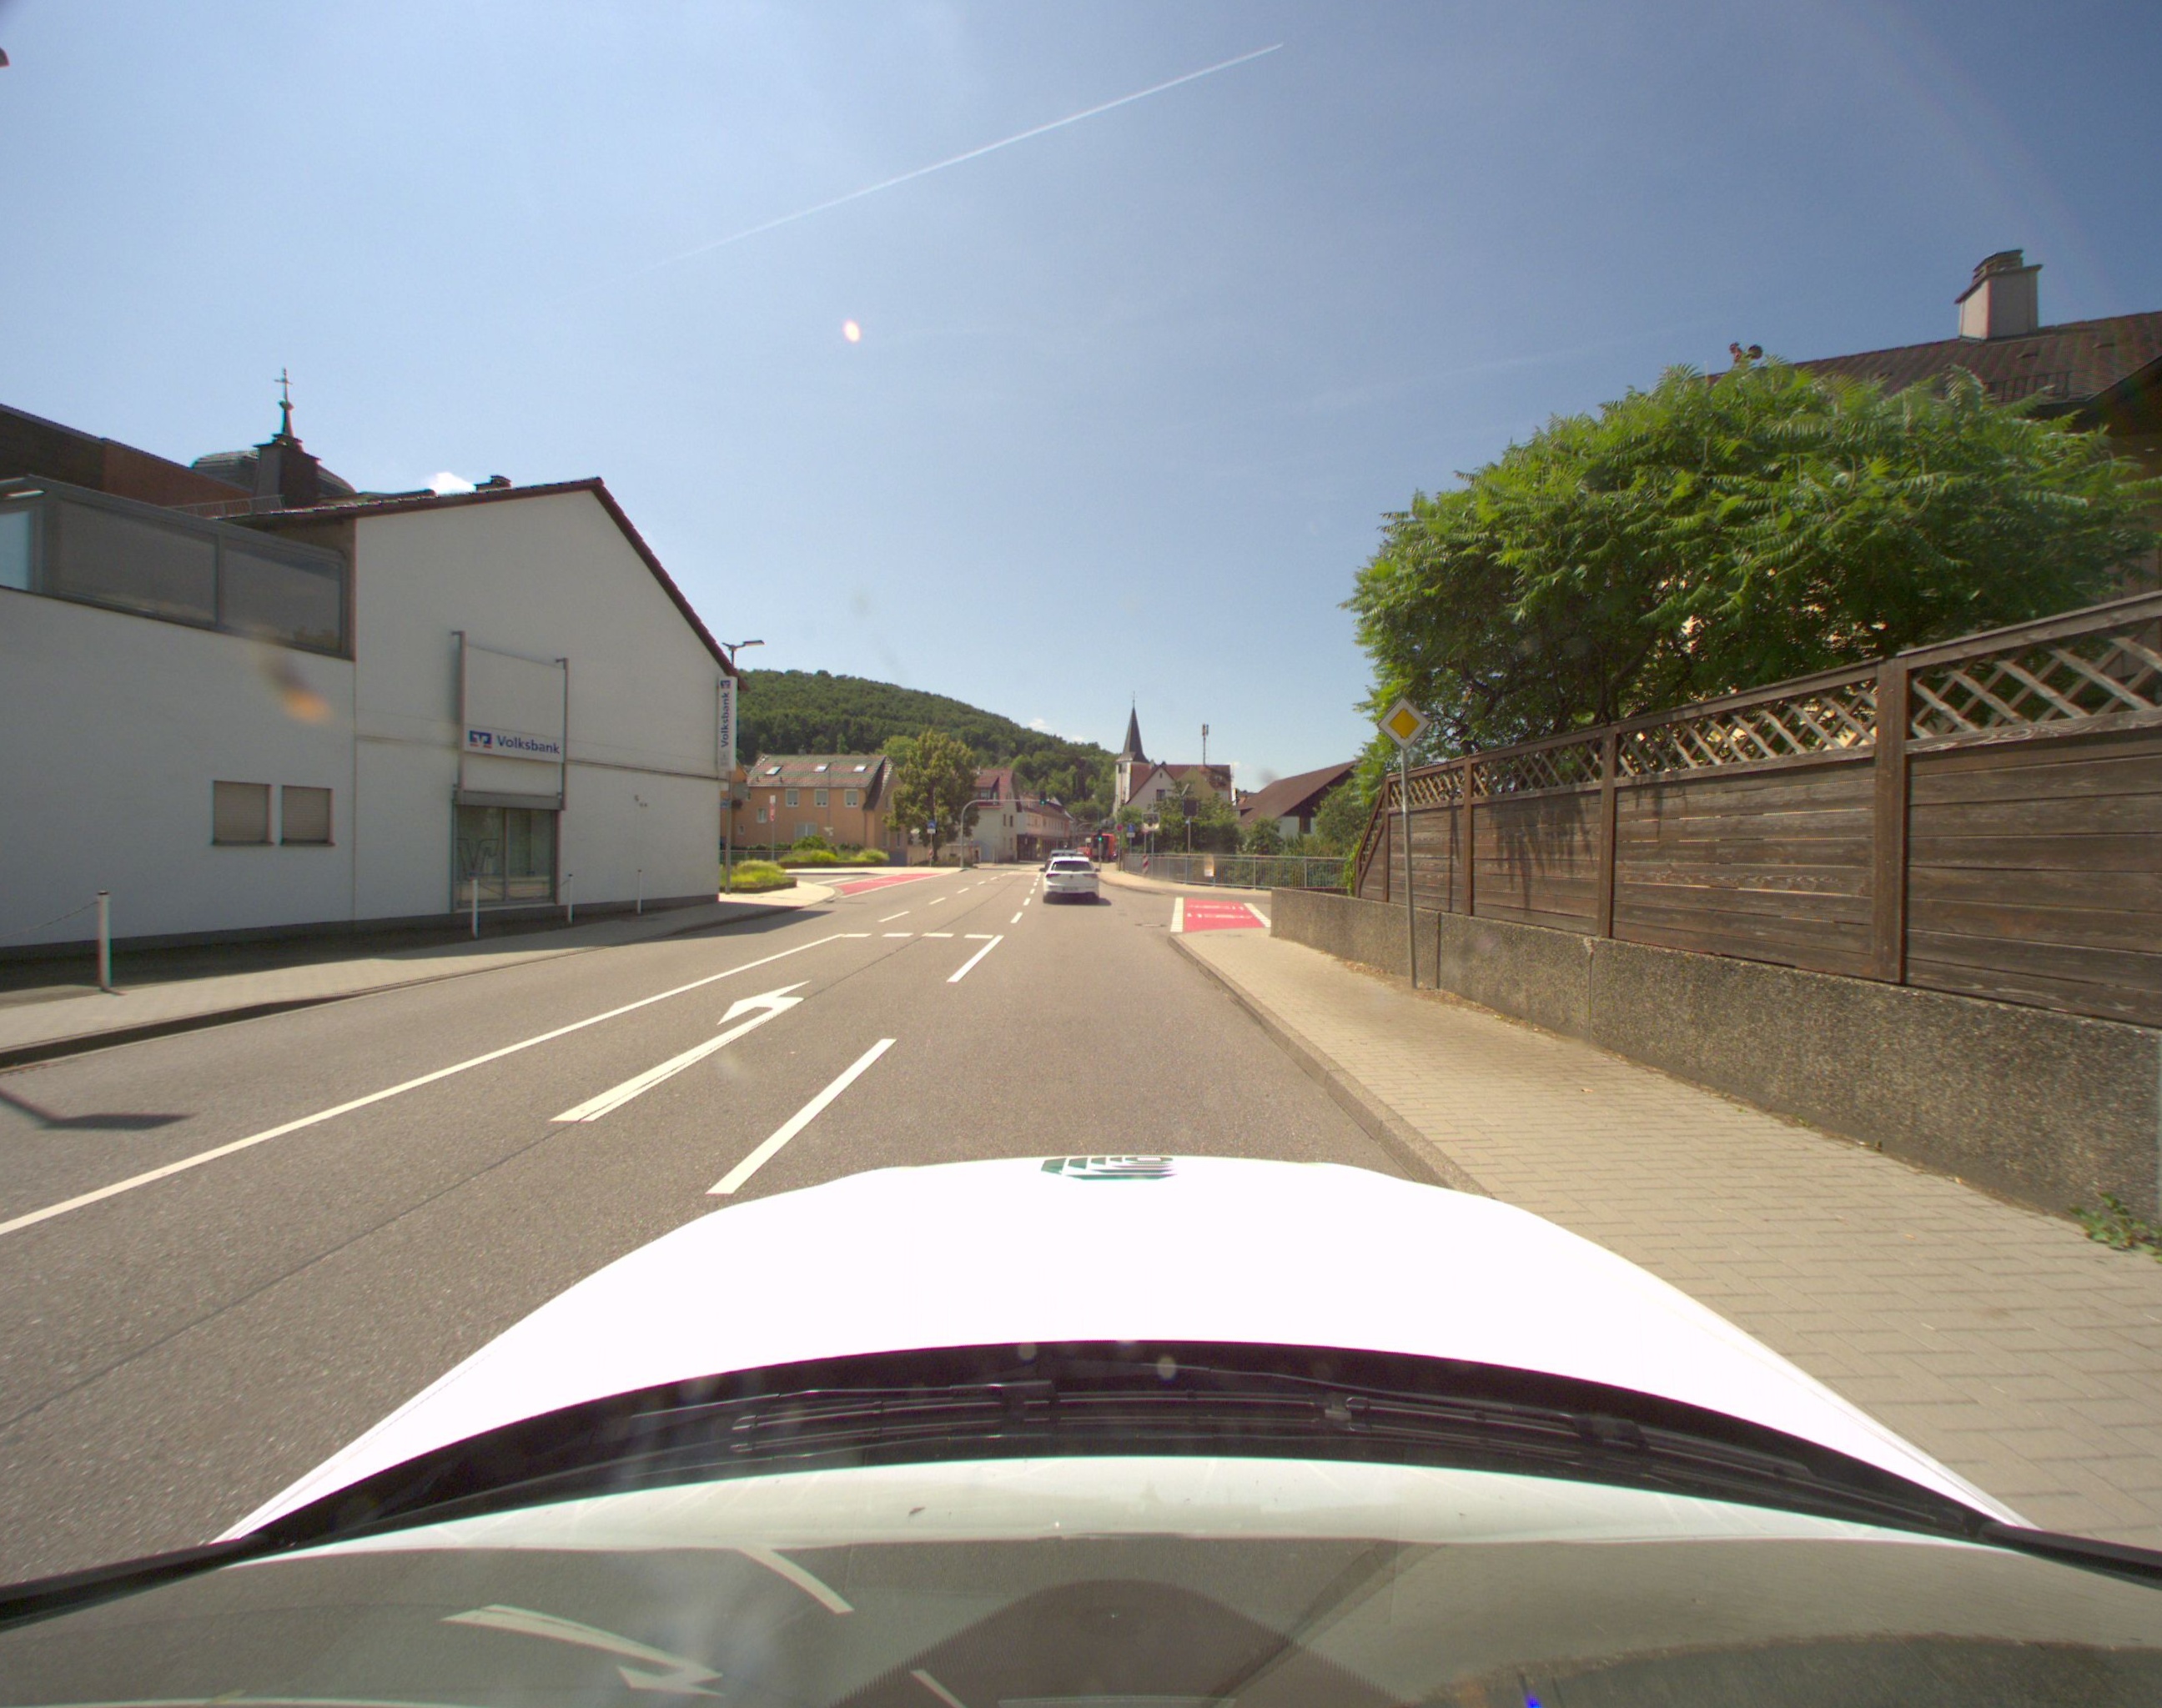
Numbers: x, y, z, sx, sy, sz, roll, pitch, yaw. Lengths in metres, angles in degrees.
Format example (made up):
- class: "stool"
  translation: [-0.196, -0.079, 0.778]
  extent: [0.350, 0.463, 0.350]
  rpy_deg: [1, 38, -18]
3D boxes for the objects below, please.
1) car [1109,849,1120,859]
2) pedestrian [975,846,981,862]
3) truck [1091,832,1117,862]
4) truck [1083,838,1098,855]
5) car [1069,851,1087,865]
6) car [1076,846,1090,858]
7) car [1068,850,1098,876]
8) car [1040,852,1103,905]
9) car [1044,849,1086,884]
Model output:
- class: "car"
  translation: [5.492, -0.017, 134.404]
  extent: [1.808, 1.519, 4.001]
  rpy_deg: [0, -1, 2]
- class: "pedestrian"
  translation: [-11.300, 0.034, 89.618]
  extent: [0.430, 1.764, 0.560]
  rpy_deg: [0, 0, 20]
- class: "truck"
  translation: [3.499, -0.890, 119.305]
  extent: [3.352, 4.170, 9.529]
  rpy_deg: [0, -1, 4]
- class: "truck"
  translation: [1.897, -1.396, 162.677]
  extent: [2.490, 3.235, 6.047]
  rpy_deg: [0, -1, 4]
- class: "car"
  translation: [-0.357, 0.448, 89.077]
  extent: [1.808, 1.519, 4.001]
  rpy_deg: [0, -1, 2]
- class: "car"
  translation: [0.294, -0.259, 121.994]
  extent: [1.986, 1.705, 4.314]
  rpy_deg: [0, -1, 2]
- class: "car"
  translation: [0.194, 0.580, 52.616]
  extent: [1.808, 1.629, 4.001]
  rpy_deg: [0, -1, 2]
- class: "car"
  translation: [-0.242, 0.741, 26.402]
  extent: [1.808, 1.519, 4.001]
  rpy_deg: [2, 0, 2]
- class: "car"
  translation: [-0.731, 0.610, 39.920]
  extent: [1.808, 1.629, 4.001]
  rpy_deg: [0, -1, 2]
